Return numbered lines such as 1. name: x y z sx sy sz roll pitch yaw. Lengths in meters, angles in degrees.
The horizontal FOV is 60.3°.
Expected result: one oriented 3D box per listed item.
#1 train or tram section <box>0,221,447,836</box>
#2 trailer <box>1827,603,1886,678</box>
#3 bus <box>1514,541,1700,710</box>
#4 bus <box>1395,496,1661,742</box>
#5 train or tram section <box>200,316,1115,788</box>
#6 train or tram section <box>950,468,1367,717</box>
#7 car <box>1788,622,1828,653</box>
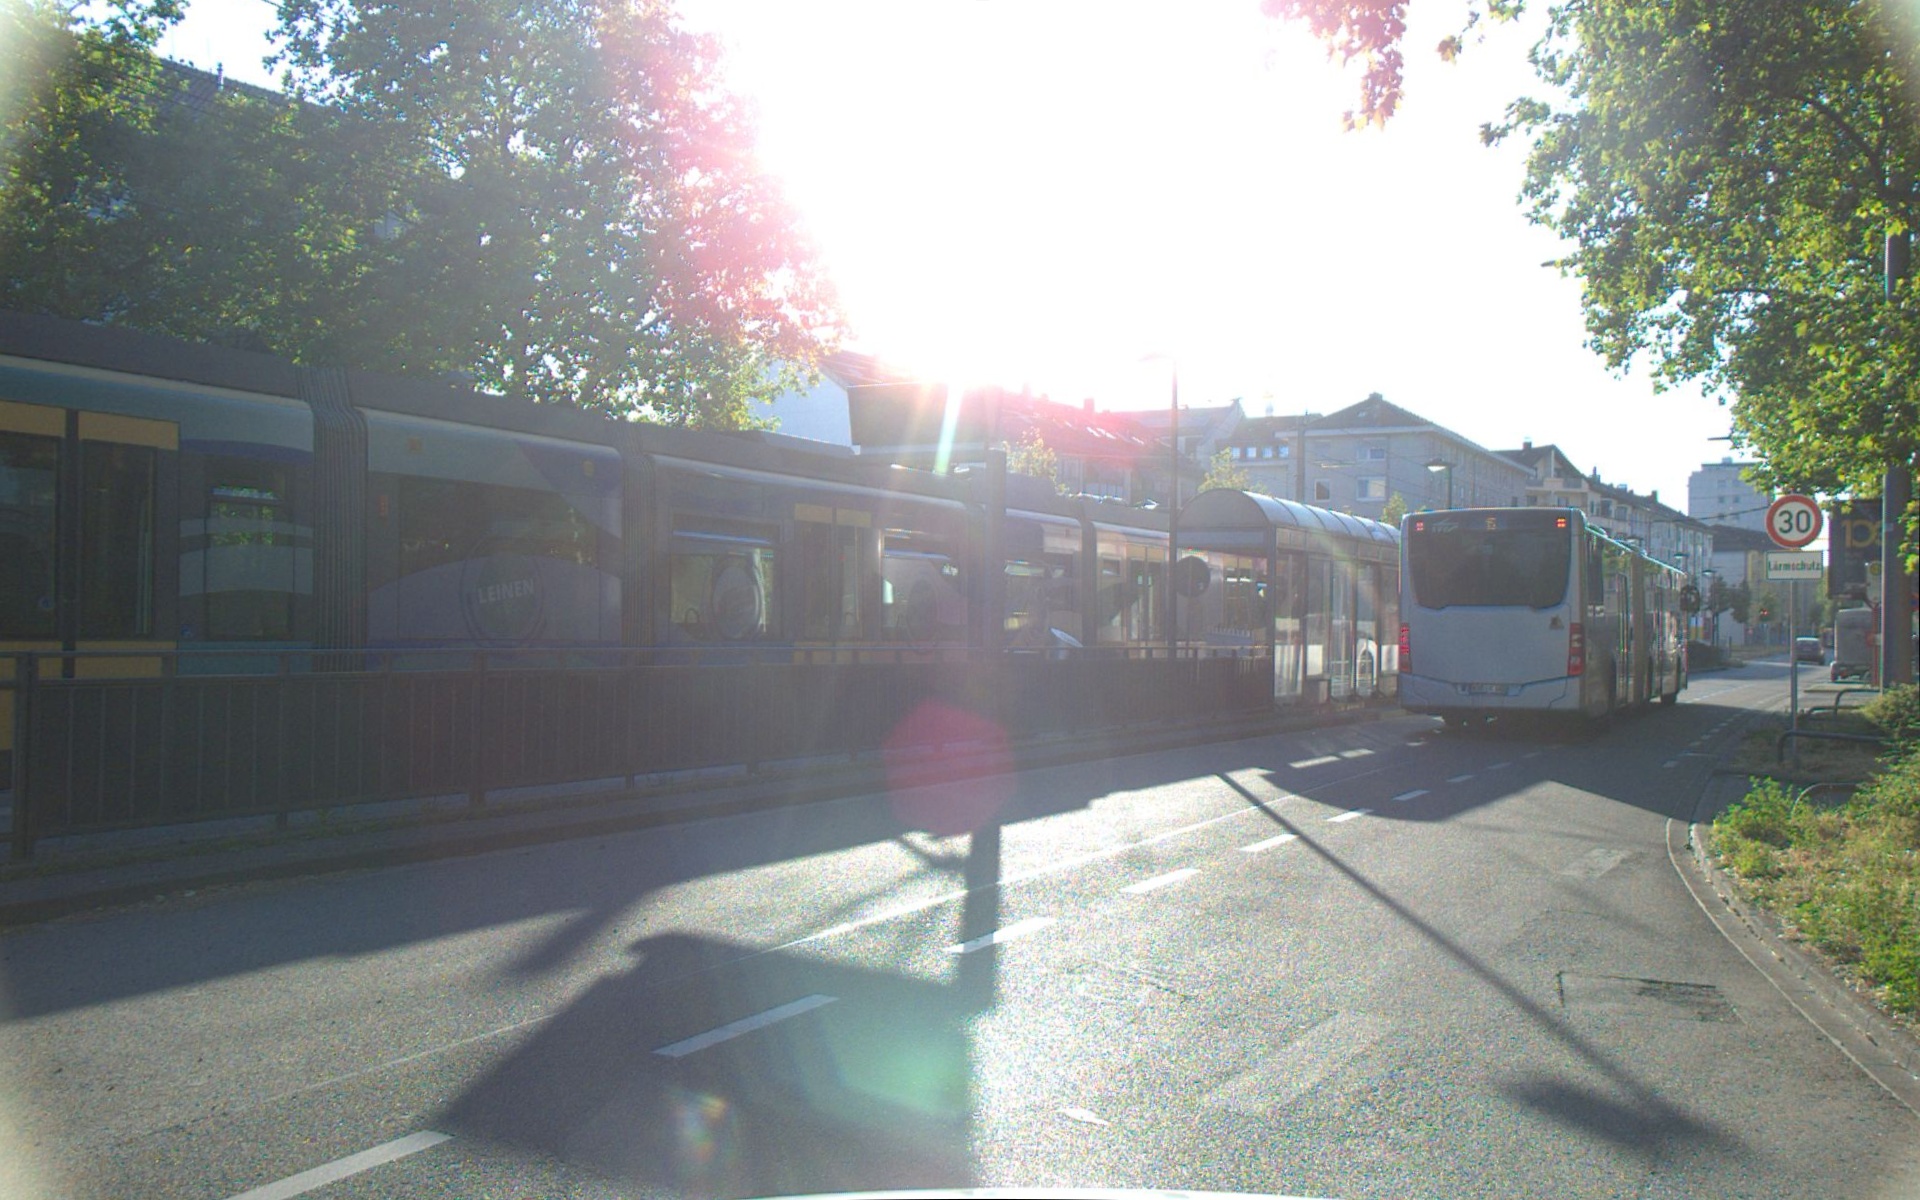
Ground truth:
1. train or tram section: -8.446 -0.488 7.508 2.796 3.595 13.370 0 -1 30
2. trailer: 32.410 1.452 59.791 1.798 2.603 3.312 0 -1 30
3. bus: 14.084 0.535 35.531 2.657 3.161 8.965 0 -1 28
4. bus: 9.565 0.306 26.867 2.680 3.194 10.691 0 -1 27
5. train or tram section: -2.096 -0.250 18.873 2.678 3.611 12.759 0 -1 30
6. train or tram section: 4.277 0.011 30.177 2.591 3.581 13.307 0 -1 30
7. car: 52.450 2.307 102.251 1.957 1.847 3.991 1 -1 31
